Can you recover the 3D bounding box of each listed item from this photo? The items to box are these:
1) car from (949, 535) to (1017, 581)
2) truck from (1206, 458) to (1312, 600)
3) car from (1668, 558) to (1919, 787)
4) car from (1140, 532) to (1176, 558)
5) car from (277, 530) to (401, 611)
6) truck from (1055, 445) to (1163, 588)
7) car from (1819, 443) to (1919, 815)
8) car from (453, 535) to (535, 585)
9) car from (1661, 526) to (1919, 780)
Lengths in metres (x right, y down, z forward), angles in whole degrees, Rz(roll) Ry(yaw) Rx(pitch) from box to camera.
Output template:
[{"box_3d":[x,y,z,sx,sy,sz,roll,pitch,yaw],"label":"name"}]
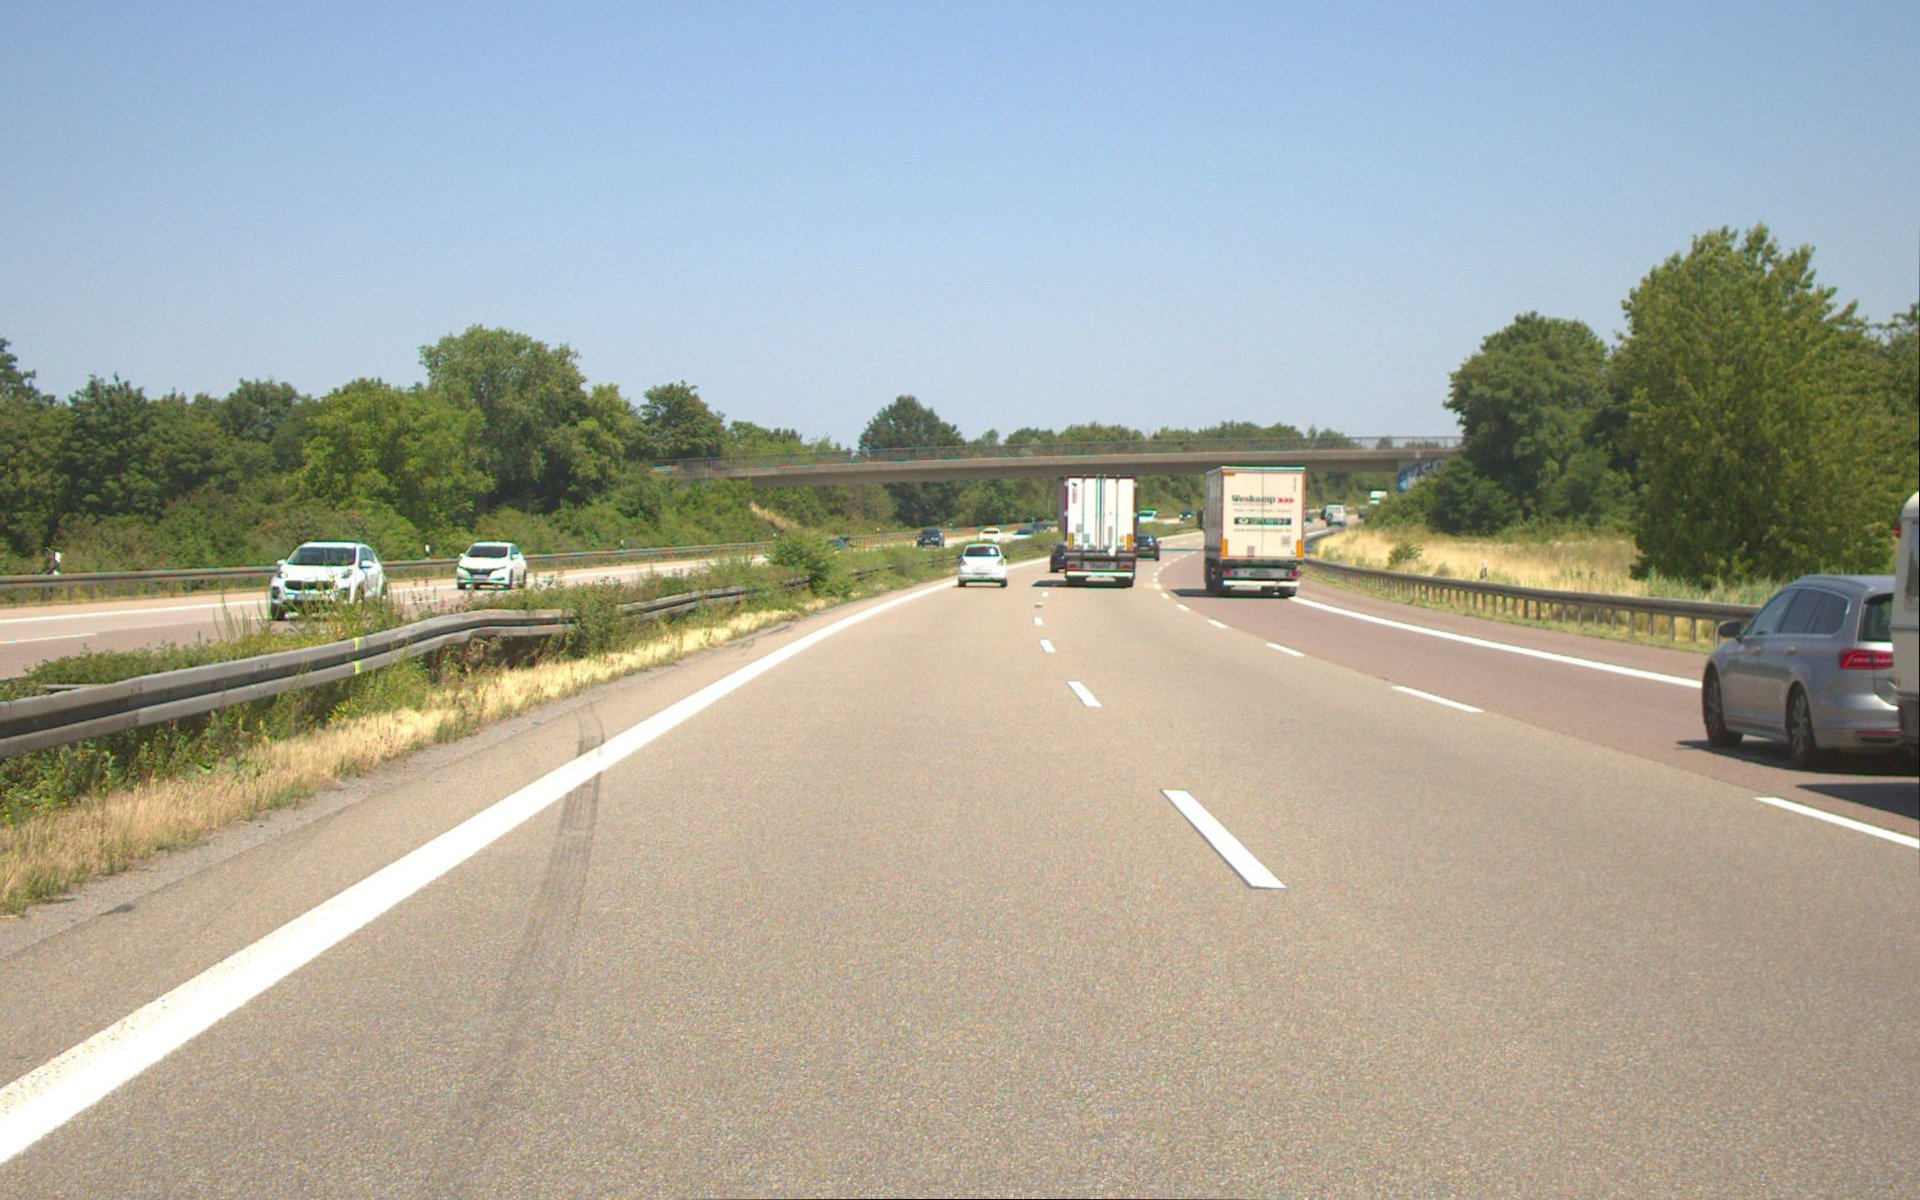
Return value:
[{"box_3d":[0.834,-1.507,121.861,1.828,1.541,4.318,1,1,8],"label":"car"},{"box_3d":[9.698,-2.420,112.797,3.181,4.289,16.016,1,2,4],"label":"truck"},{"box_3d":[7.014,0.485,26.570,1.887,1.510,5.380,1,1,-1],"label":"car"},{"box_3d":[12.167,-3.381,210.925,1.828,1.541,4.318,1,1,8],"label":"car"},{"box_3d":[-13.276,-0.637,73.718,1.788,1.675,4.901,0,1,0],"label":"car"},{"box_3d":[5.720,-3.223,129.193,3.667,5.001,16.016,1,2,4],"label":"truck"},{"box_3d":[7.199,0.180,21.007,2.442,2.313,5.322,-1,2,-1],"label":"car"},{"box_3d":[-15.532,-1.343,114.802,1.747,1.535,4.827,2,2,3],"label":"car"},{"box_3d":[7.081,0.308,26.648,2.045,1.652,5.511,-1,2,-1],"label":"car"}]
